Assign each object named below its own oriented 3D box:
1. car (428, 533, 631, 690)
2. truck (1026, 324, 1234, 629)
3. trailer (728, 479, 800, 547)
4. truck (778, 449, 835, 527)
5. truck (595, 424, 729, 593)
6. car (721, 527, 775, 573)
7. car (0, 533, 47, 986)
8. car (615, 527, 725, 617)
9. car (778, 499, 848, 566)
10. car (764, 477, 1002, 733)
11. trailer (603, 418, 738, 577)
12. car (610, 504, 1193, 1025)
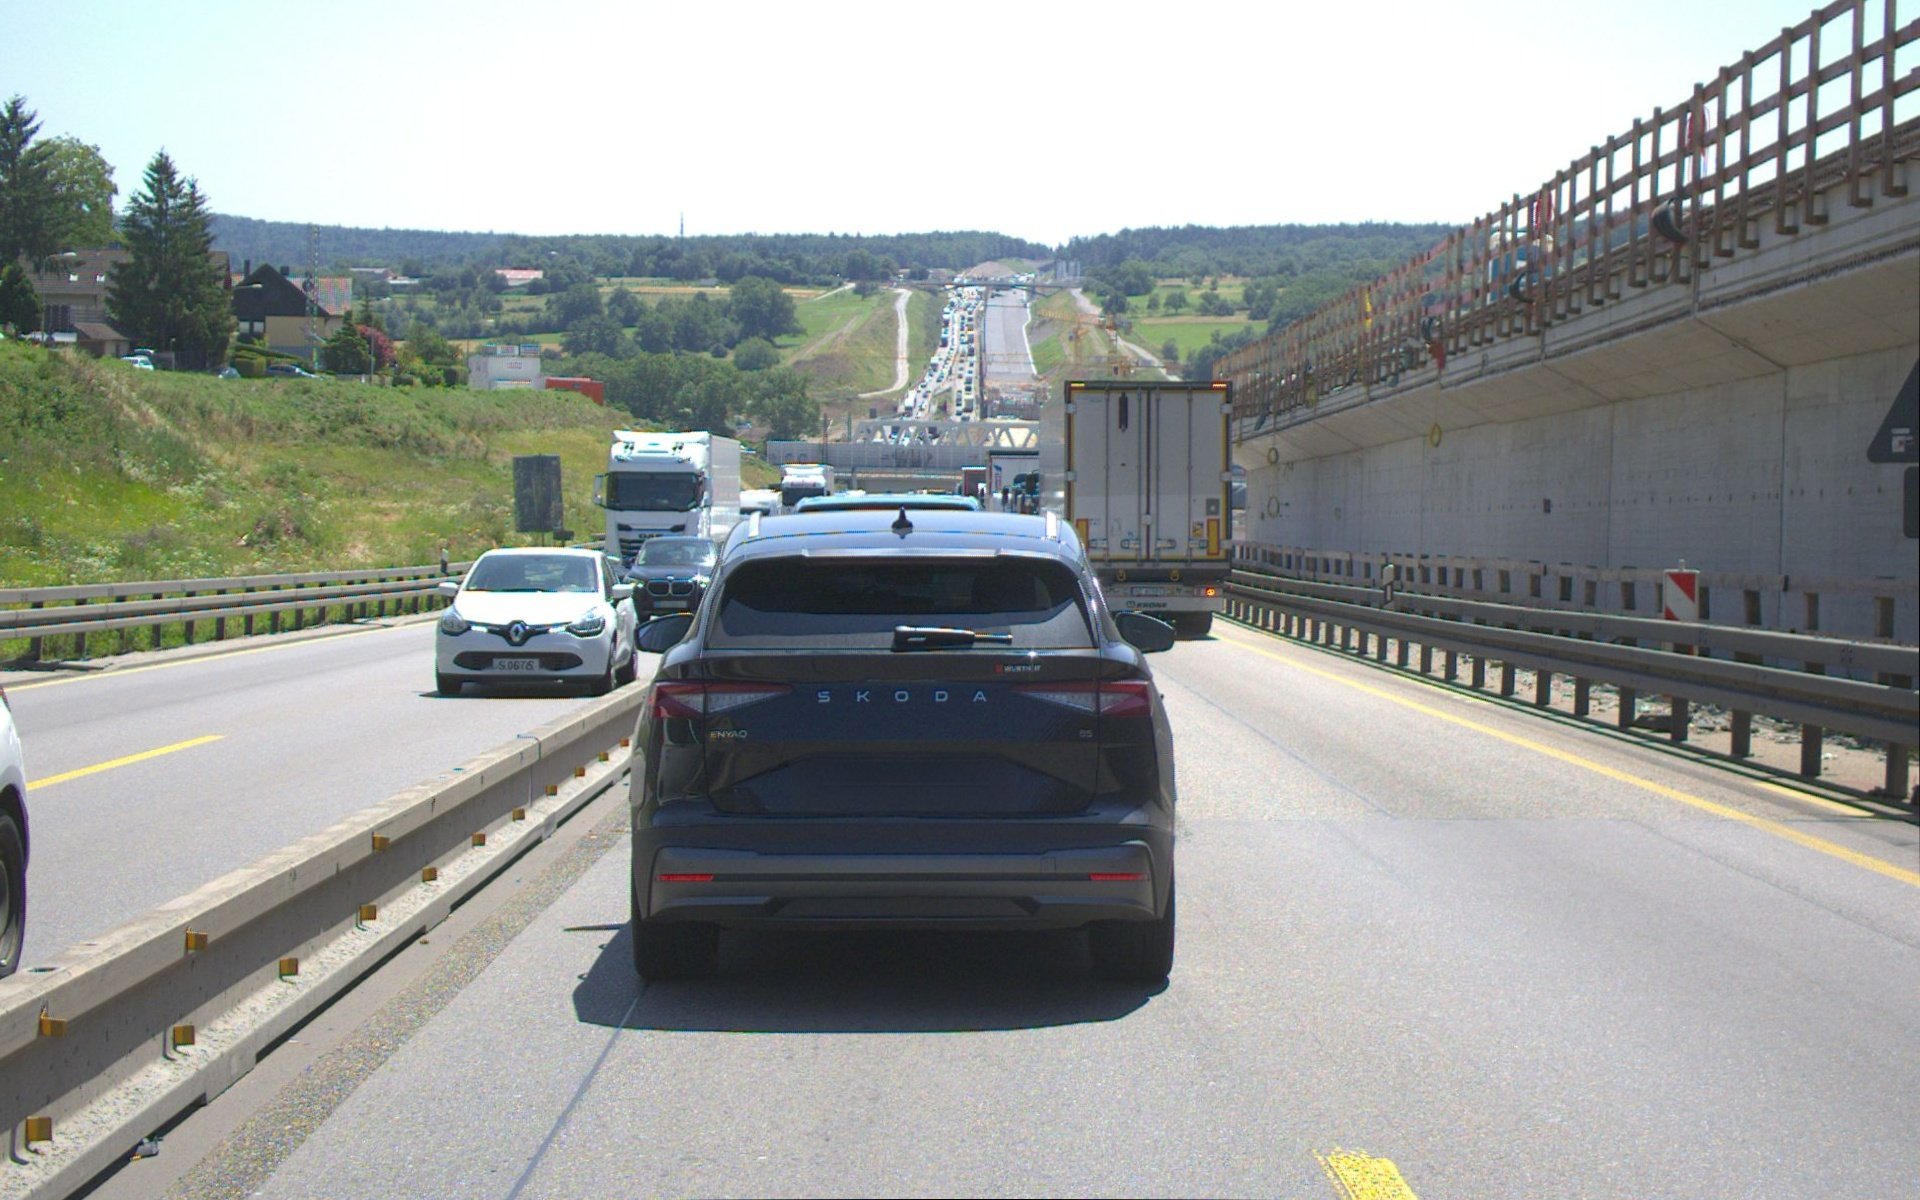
[{"bbox_3d":[-4.298,0.076,34.758,1.691,1.481,3.750,0,1,-2],"label":"car"},{"bbox_3d":[2.721,-1.921,58.596,2.846,4.599,11.811,1,0,0],"label":"truck"},{"bbox_3d":[-7.880,-3.467,138.535,2.485,2.604,5.867,-1,0,0],"label":"trailer"},{"bbox_3d":[-8.584,-6.242,192.857,2.753,4.212,8.100,1,1,0],"label":"truck"},{"bbox_3d":[-7.724,-2.325,89.866,3.180,4.223,6.485,1,0,-3],"label":"truck"},{"bbox_3d":[-8.040,-1.893,130.449,1.747,1.579,4.000,4,0,-1],"label":"car"},{"bbox_3d":[-3.968,0.540,9.888,1.766,1.481,3.866,0,1,-2],"label":"car"},{"bbox_3d":[-5.179,-0.522,61.856,1.700,1.555,4.104,0,1,-1],"label":"car"},{"bbox_3d":[-4.044,-1.870,95.356,1.775,1.814,4.434,1,1,-1],"label":"car"},{"bbox_3d":[-0.683,0.011,28.421,1.749,1.889,3.756,3,1,-3],"label":"car"},{"bbox_3d":[-8.005,-2.812,96.726,3.220,4.144,13.410,0,1,-2],"label":"trailer"},{"bbox_3d":[-0.232,0.480,12.462,1.782,1.592,3.755,1,1,-2],"label":"car"}]
